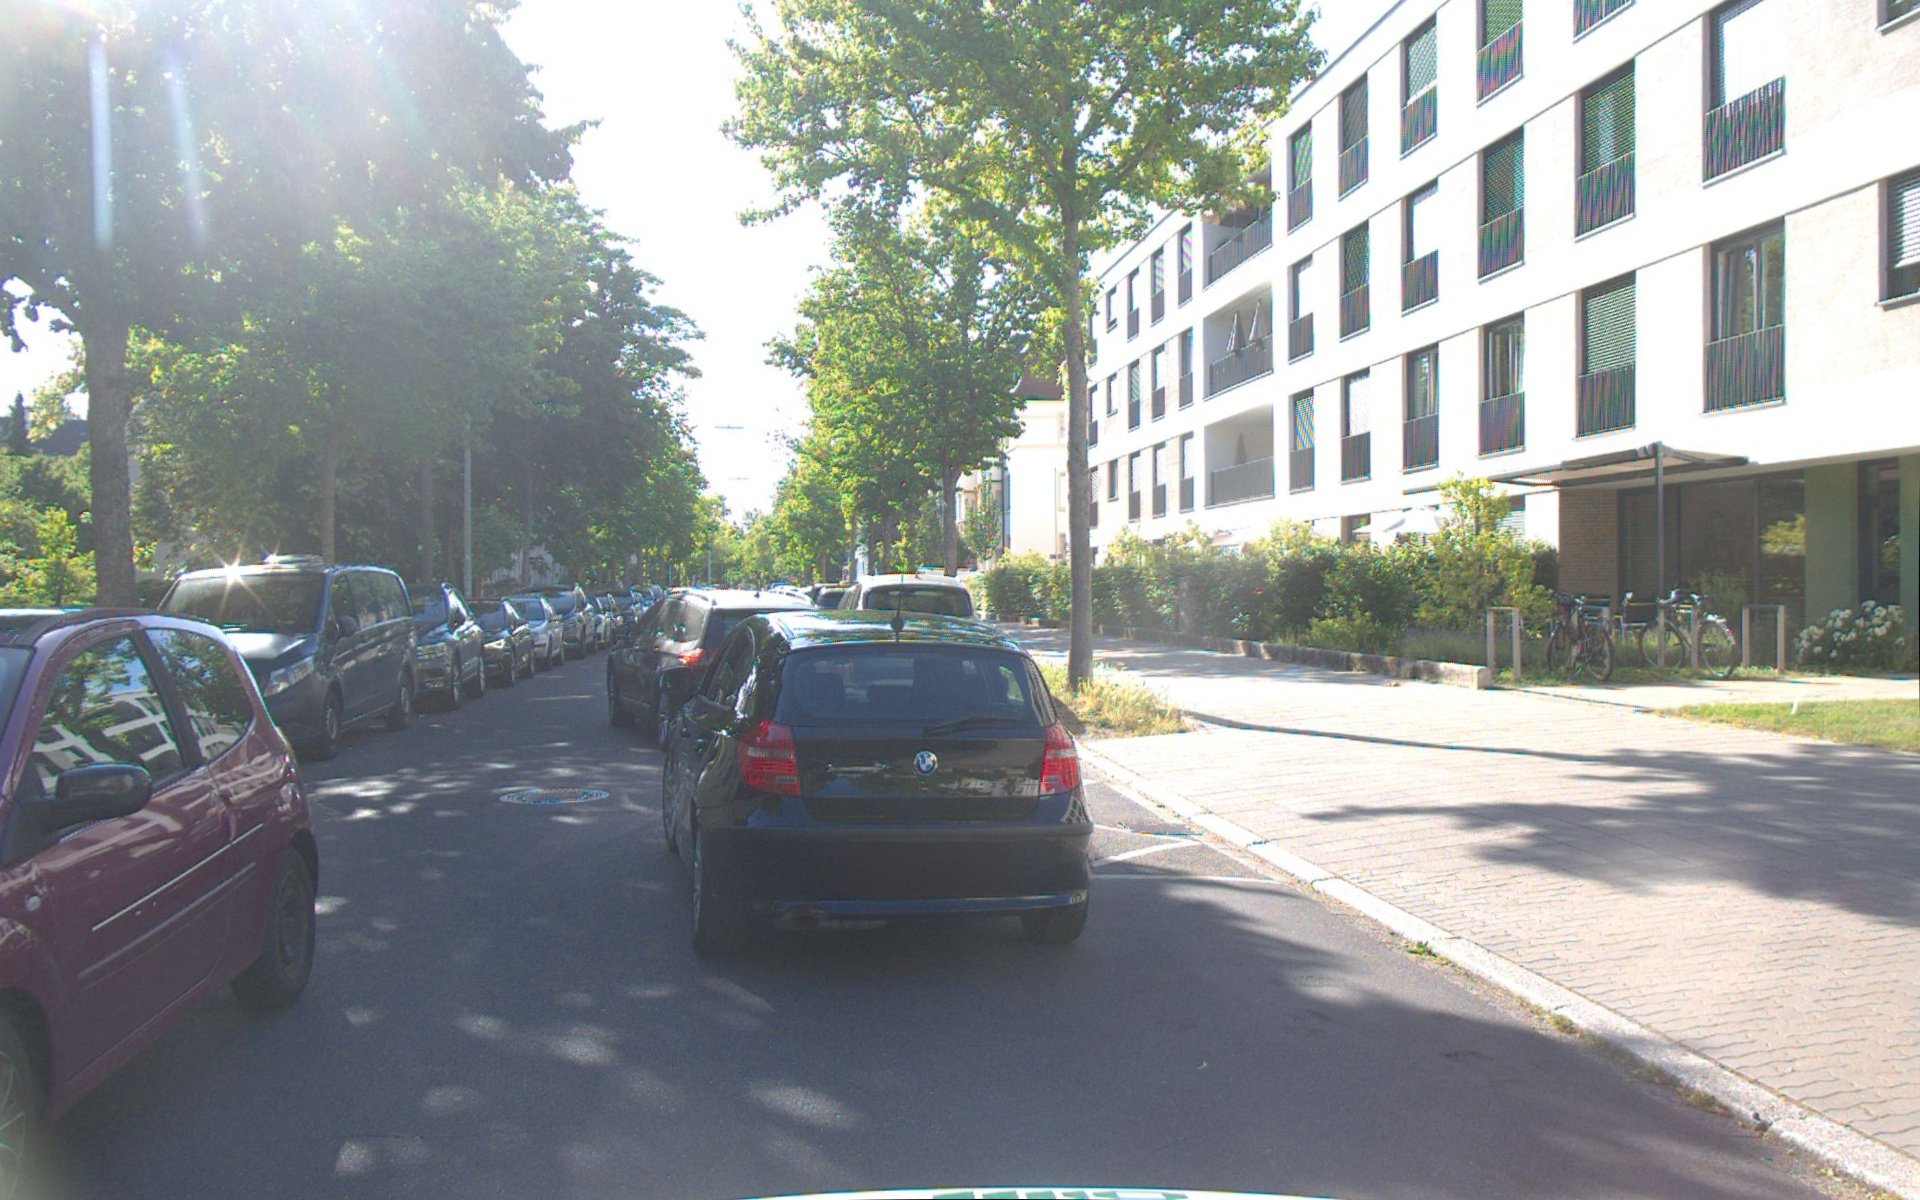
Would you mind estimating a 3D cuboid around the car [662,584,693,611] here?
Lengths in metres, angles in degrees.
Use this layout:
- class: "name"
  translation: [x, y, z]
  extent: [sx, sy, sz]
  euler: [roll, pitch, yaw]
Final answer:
- class: "car"
  translation: [-16.072, -0.153, 94.161]
  extent: [1.582, 1.416, 3.859]
  euler: [-2, 1, -8]

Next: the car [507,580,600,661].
- class: "car"
  translation: [-9.360, 0.427, 38.331]
  extent: [1.582, 1.708, 4.227]
  euler: [-2, 1, -8]

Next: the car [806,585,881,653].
- class: "car"
  translation: [-2.918, 0.427, 40.930]
  extent: [1.688, 1.555, 3.995]
  euler: [1, 0, -6]

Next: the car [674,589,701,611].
- class: "car"
  translation: [-17.820, -0.007, 108.286]
  extent: [1.582, 1.416, 3.859]
  euler: [-2, 1, -8]

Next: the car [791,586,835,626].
- class: "car"
  translation: [-5.936, 0.223, 66.629]
  extent: [1.688, 1.506, 3.846]
  euler: [1, 0, -6]

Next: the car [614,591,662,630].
- class: "car"
  translation: [-12.568, 0.398, 64.781]
  extent: [1.582, 1.416, 3.859]
  euler: [-2, 1, -8]

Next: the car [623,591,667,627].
- class: "car"
  translation: [-13.294, 0.347, 69.994]
  extent: [1.582, 1.416, 3.859]
  euler: [-2, 1, -8]

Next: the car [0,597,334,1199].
- class: "car"
  translation: [-2.927, 0.751, 4.531]
  extent: [1.476, 1.451, 3.173]
  euler: [-1, 1, -6]

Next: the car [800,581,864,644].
- class: "car"
  translation: [-3.667, 0.323, 46.882]
  extent: [1.688, 1.669, 3.846]
  euler: [1, 0, -6]

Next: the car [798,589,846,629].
- class: "car"
  translation: [-5.187, 0.307, 61.907]
  extent: [1.688, 1.403, 3.846]
  euler: [1, 0, -6]

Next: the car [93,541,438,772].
- class: "car"
  translation: [-6.843, 0.462, 16.956]
  extent: [1.791, 1.937, 5.135]
  euler: [-2, 1, -6]

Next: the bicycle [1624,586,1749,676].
- class: "bicycle"
  translation: [9.127, 0.367, 20.857]
  extent: [0.536, 1.073, 1.776]
  euler: [-2, 0, -10]

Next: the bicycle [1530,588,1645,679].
- class: "bicycle"
  translation: [7.806, 0.394, 20.643]
  extent: [0.536, 1.073, 1.688]
  euler: [-2, 0, -10]

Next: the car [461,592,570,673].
- class: "car"
  translation: [-8.783, 0.609, 32.928]
  extent: [1.582, 1.452, 3.719]
  euler: [-2, 1, -8]

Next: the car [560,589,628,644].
- class: "car"
  translation: [-10.708, 0.443, 48.541]
  extent: [1.582, 1.478, 3.859]
  euler: [-2, 1, -8]

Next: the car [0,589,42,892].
- class: "car"
  translation: [-5.522, 0.784, 6.630]
  extent: [1.479, 1.575, 4.770]
  euler: [-3, 1, -7]

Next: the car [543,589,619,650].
- class: "car"
  translation: [-10.037, 0.489, 43.986]
  extent: [1.582, 1.478, 3.859]
  euler: [-2, 1, -8]

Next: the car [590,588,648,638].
- class: "car"
  translation: [-11.391, 0.405, 55.412]
  extent: [1.582, 1.570, 3.859]
  euler: [-2, 1, -8]

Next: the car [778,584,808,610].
- class: "car"
  translation: [-10.257, -0.185, 101.604]
  extent: [1.687, 1.506, 3.848]
  euler: [-2, 1, -4]

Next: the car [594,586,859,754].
- class: "car"
  translation: [-2.482, 0.604, 16.755]
  extent: [1.628, 1.450, 3.971]
  euler: [-1, 1, -24]

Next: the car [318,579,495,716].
- class: "car"
  translation: [-7.448, 0.569, 22.628]
  extent: [1.583, 1.639, 4.220]
  euler: [-2, 1, -9]

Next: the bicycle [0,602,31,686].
- class: "bicycle"
  translation: [-15.101, 0.673, 24.589]
  extent: [2.112, 1.230, 0.687]
  euler: [-2, 1, -18]

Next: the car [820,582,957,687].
- class: "car"
  translation: [-1.224, 0.497, 26.615]
  extent: [1.663, 1.550, 3.990]
  euler: [0, 0, -11]

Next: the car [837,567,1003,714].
- class: "car"
  translation: [-0.612, 0.461, 20.959]
  extent: [1.812, 1.659, 4.405]
  euler: [0, 0, -5]

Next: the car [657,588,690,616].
- class: "car"
  translation: [-15.354, 0.080, 88.794]
  extent: [1.582, 1.416, 3.859]
  euler: [-2, 1, -8]

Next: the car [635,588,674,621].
- class: "car"
  translation: [-14.268, 0.187, 77.421]
  extent: [1.582, 1.416, 3.859]
  euler: [-2, 1, -8]

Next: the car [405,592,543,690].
- class: "car"
  translation: [-8.113, 0.627, 27.886]
  extent: [1.582, 1.452, 4.051]
  euler: [-2, 1, -8]

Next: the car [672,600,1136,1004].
- class: "car"
  translation: [-0.474, 0.744, 7.939]
  extent: [1.621, 1.421, 3.401]
  euler: [-1, 1, -12]
